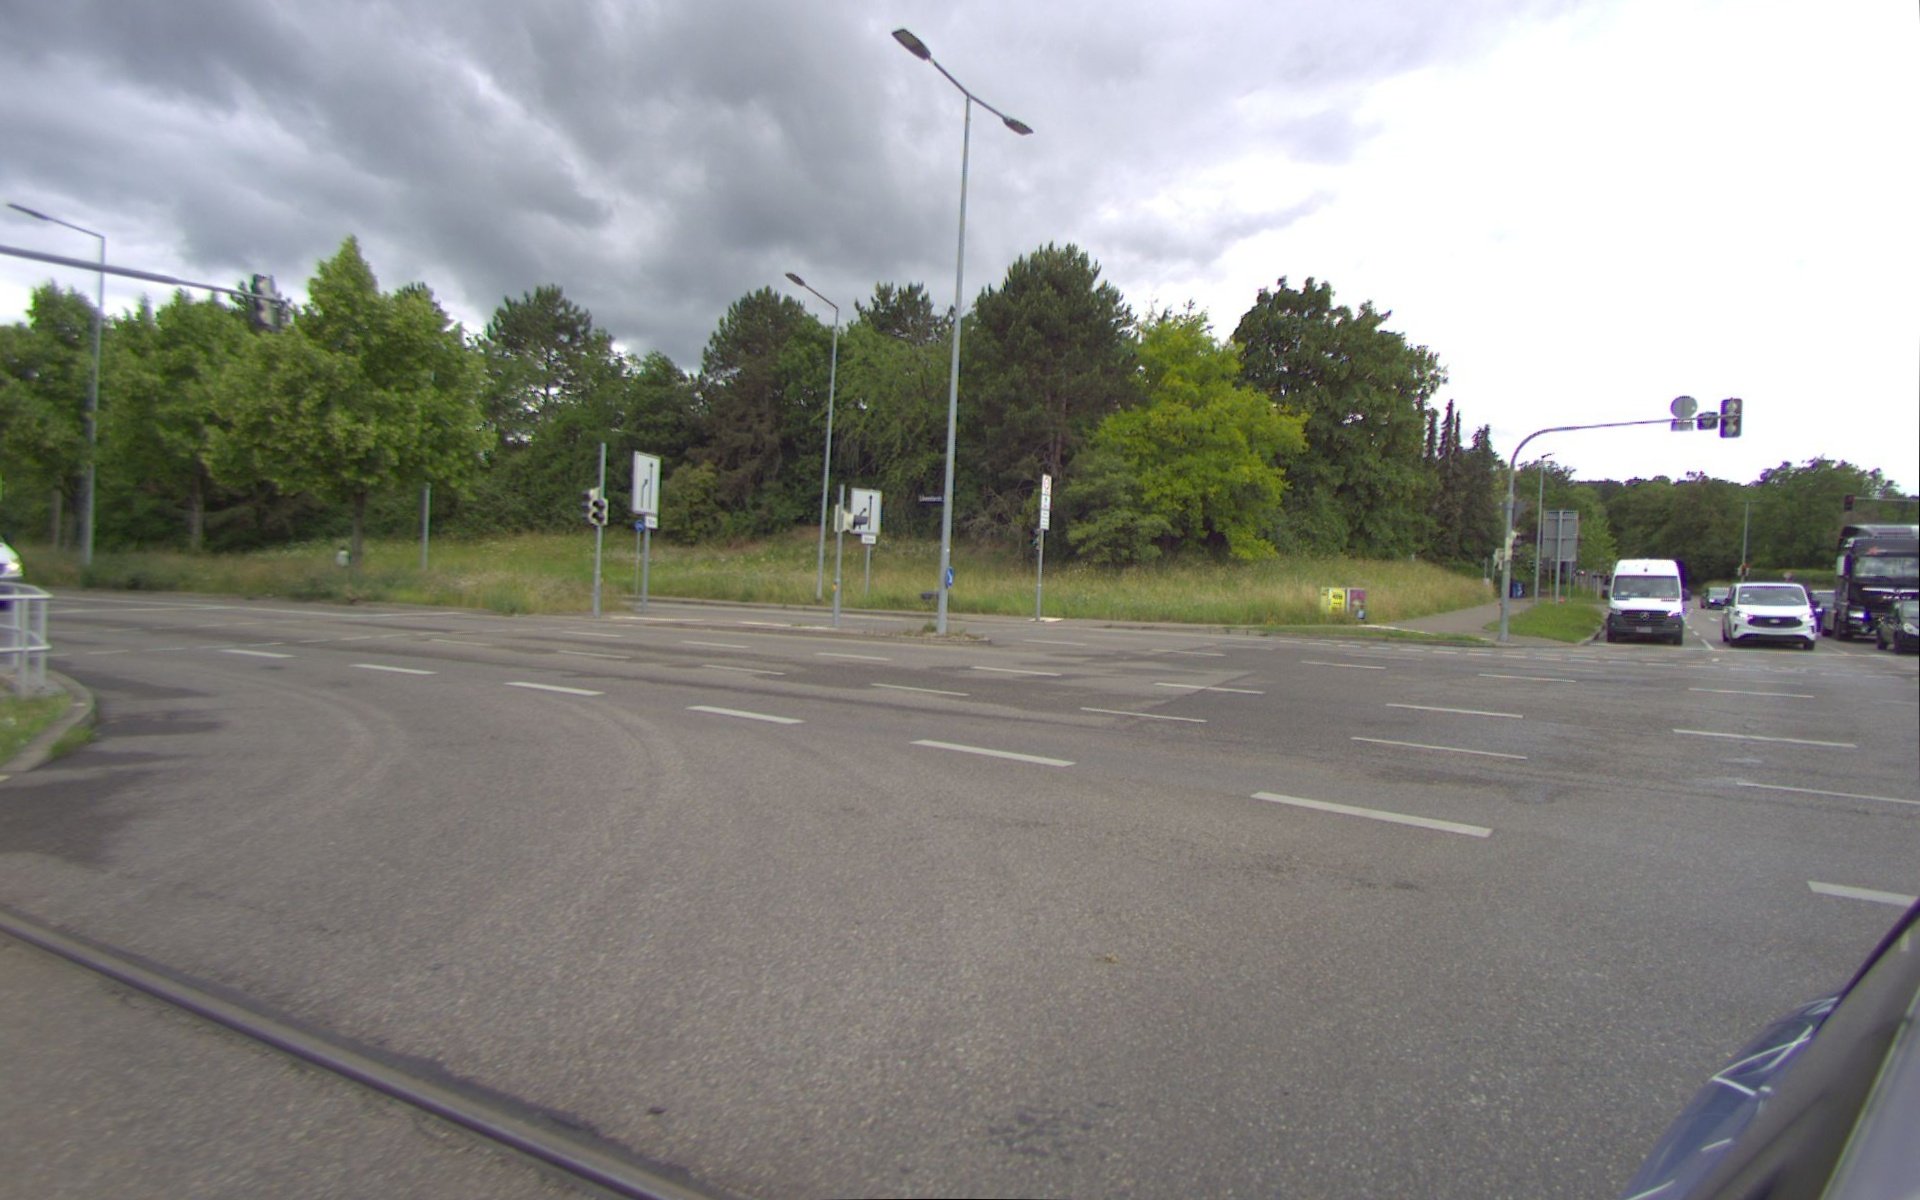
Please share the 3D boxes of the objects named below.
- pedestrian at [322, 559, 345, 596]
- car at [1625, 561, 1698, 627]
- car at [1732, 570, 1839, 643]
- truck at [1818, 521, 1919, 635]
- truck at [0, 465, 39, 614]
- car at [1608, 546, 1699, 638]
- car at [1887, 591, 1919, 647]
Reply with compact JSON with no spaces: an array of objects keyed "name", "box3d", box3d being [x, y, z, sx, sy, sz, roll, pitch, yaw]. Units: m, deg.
[{"name":"pedestrian","box3d":[-30.233,-1.080,48.838,0.620,1.739,0.733,2,0,32]},{"name":"car","box3d":[27.847,-0.220,40.212,2.214,2.416,5.885,1,0,35]},{"name":"car","box3d":[24.949,0.185,30.762,2.107,2.016,4.926,0,0,34]},{"name":"truck","box3d":[31.458,-0.682,34.163,3.053,3.562,5.888,1,0,33]},{"name":"truck","box3d":[-22.630,-1.310,21.360,6.197,3.046,2.098,2,4,21]},{"name":"car","box3d":[22.330,-0.248,32.729,2.212,2.692,5.889,1,0,33]},{"name":"car","box3d":[27.110,0.543,27.952,1.625,1.460,3.818,2,1,34]}]
